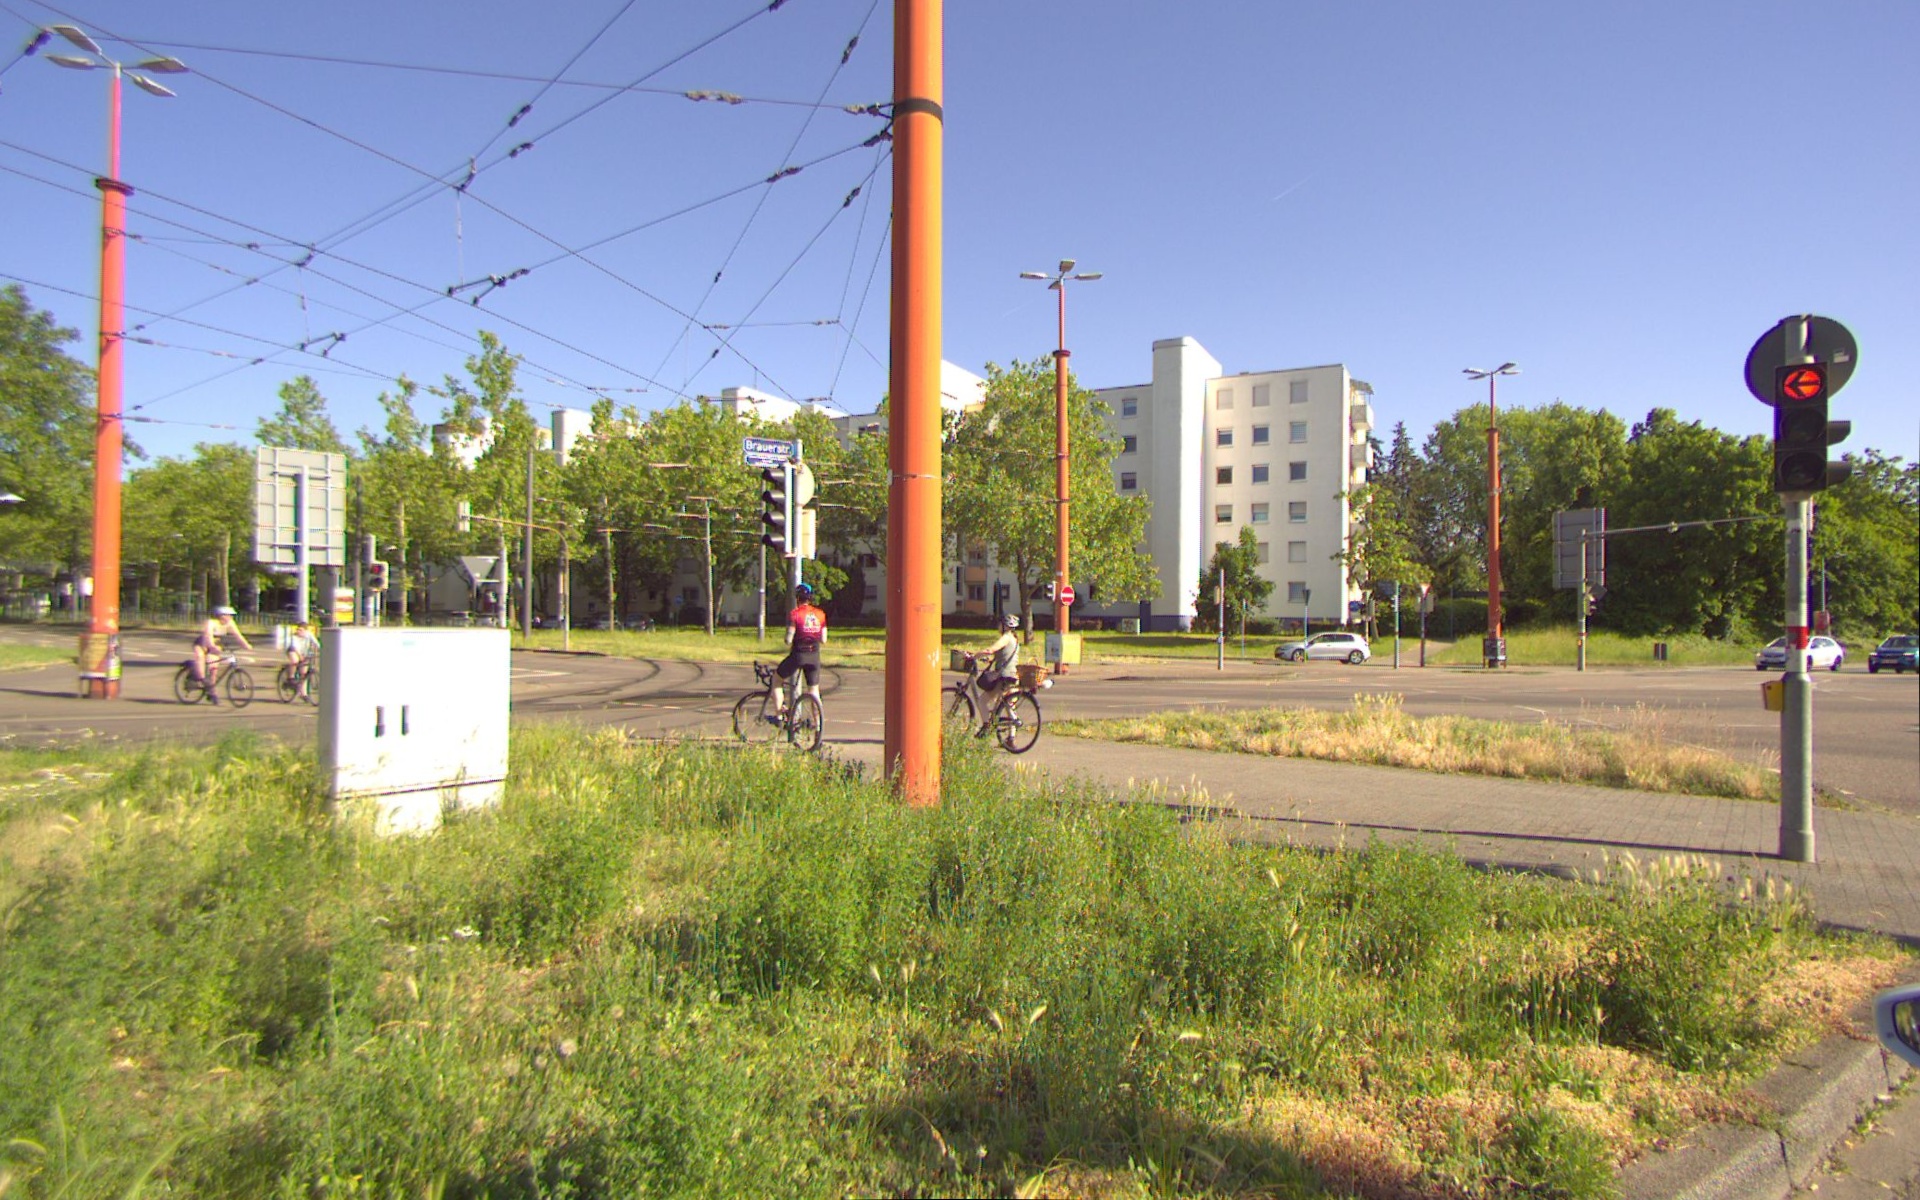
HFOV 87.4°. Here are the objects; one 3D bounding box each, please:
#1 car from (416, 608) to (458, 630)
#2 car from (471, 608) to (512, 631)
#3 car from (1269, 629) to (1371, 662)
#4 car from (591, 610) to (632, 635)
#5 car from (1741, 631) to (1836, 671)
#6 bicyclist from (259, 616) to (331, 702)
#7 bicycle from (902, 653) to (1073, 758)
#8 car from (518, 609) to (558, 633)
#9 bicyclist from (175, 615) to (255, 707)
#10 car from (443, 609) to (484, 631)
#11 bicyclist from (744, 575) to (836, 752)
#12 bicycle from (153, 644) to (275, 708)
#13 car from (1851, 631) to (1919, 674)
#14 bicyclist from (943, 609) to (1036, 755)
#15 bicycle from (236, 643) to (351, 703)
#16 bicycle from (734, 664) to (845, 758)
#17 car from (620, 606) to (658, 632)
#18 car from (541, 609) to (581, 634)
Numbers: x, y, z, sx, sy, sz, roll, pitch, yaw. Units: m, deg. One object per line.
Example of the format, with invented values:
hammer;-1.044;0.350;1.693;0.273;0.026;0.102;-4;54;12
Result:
car;-46.018;1.667;88.475;1.963;1.840;3.995;1;-1;-8
car;-39.280;1.633;84.324;1.963;1.840;3.995;1;-1;-8
car;16.821;2.124;47.061;4.136;1.471;1.800;1;-1;3
car;-26.105;1.679;75.327;1.962;1.840;3.997;1;-1;-5
car;35.149;2.149;42.604;4.075;1.594;1.983;1;-1;-32
bicyclist;-13.207;1.157;19.967;0.726;1.659;0.934;0;-1;18
bicycle;0.319;1.222;12.119;1.855;1.102;0.925;0;-1;34
car;-33.804;1.663;80.526;1.963;1.840;3.995;1;-1;-8
bicyclist;-13.997;1.128;18.895;0.726;1.659;0.934;0;-1;18
car;-42.669;1.691;86.446;1.963;1.840;3.995;1;-1;-8
bicyclist;-2.061;0.744;12.138;0.921;2.040;0.736;1;-1;-25
bicycle;-14.024;1.407;18.894;1.849;1.102;0.928;0;-1;18
car;37.272;2.036;39.864;4.079;1.594;1.981;2;-1;-35
bicyclist;0.364;0.953;12.096;0.728;1.659;0.931;0;-1;35
bicycle;-13.247;1.437;19.978;1.849;1.102;0.928;0;-1;18
bicycle;-2.111;1.303;12.234;0.915;0.976;1.747;1;-1;-24
car;-23.399;1.392;73.415;1.963;1.840;3.995;1;-1;-8
car;-31.188;1.668;78.677;1.963;1.840;3.995;1;-1;-8
